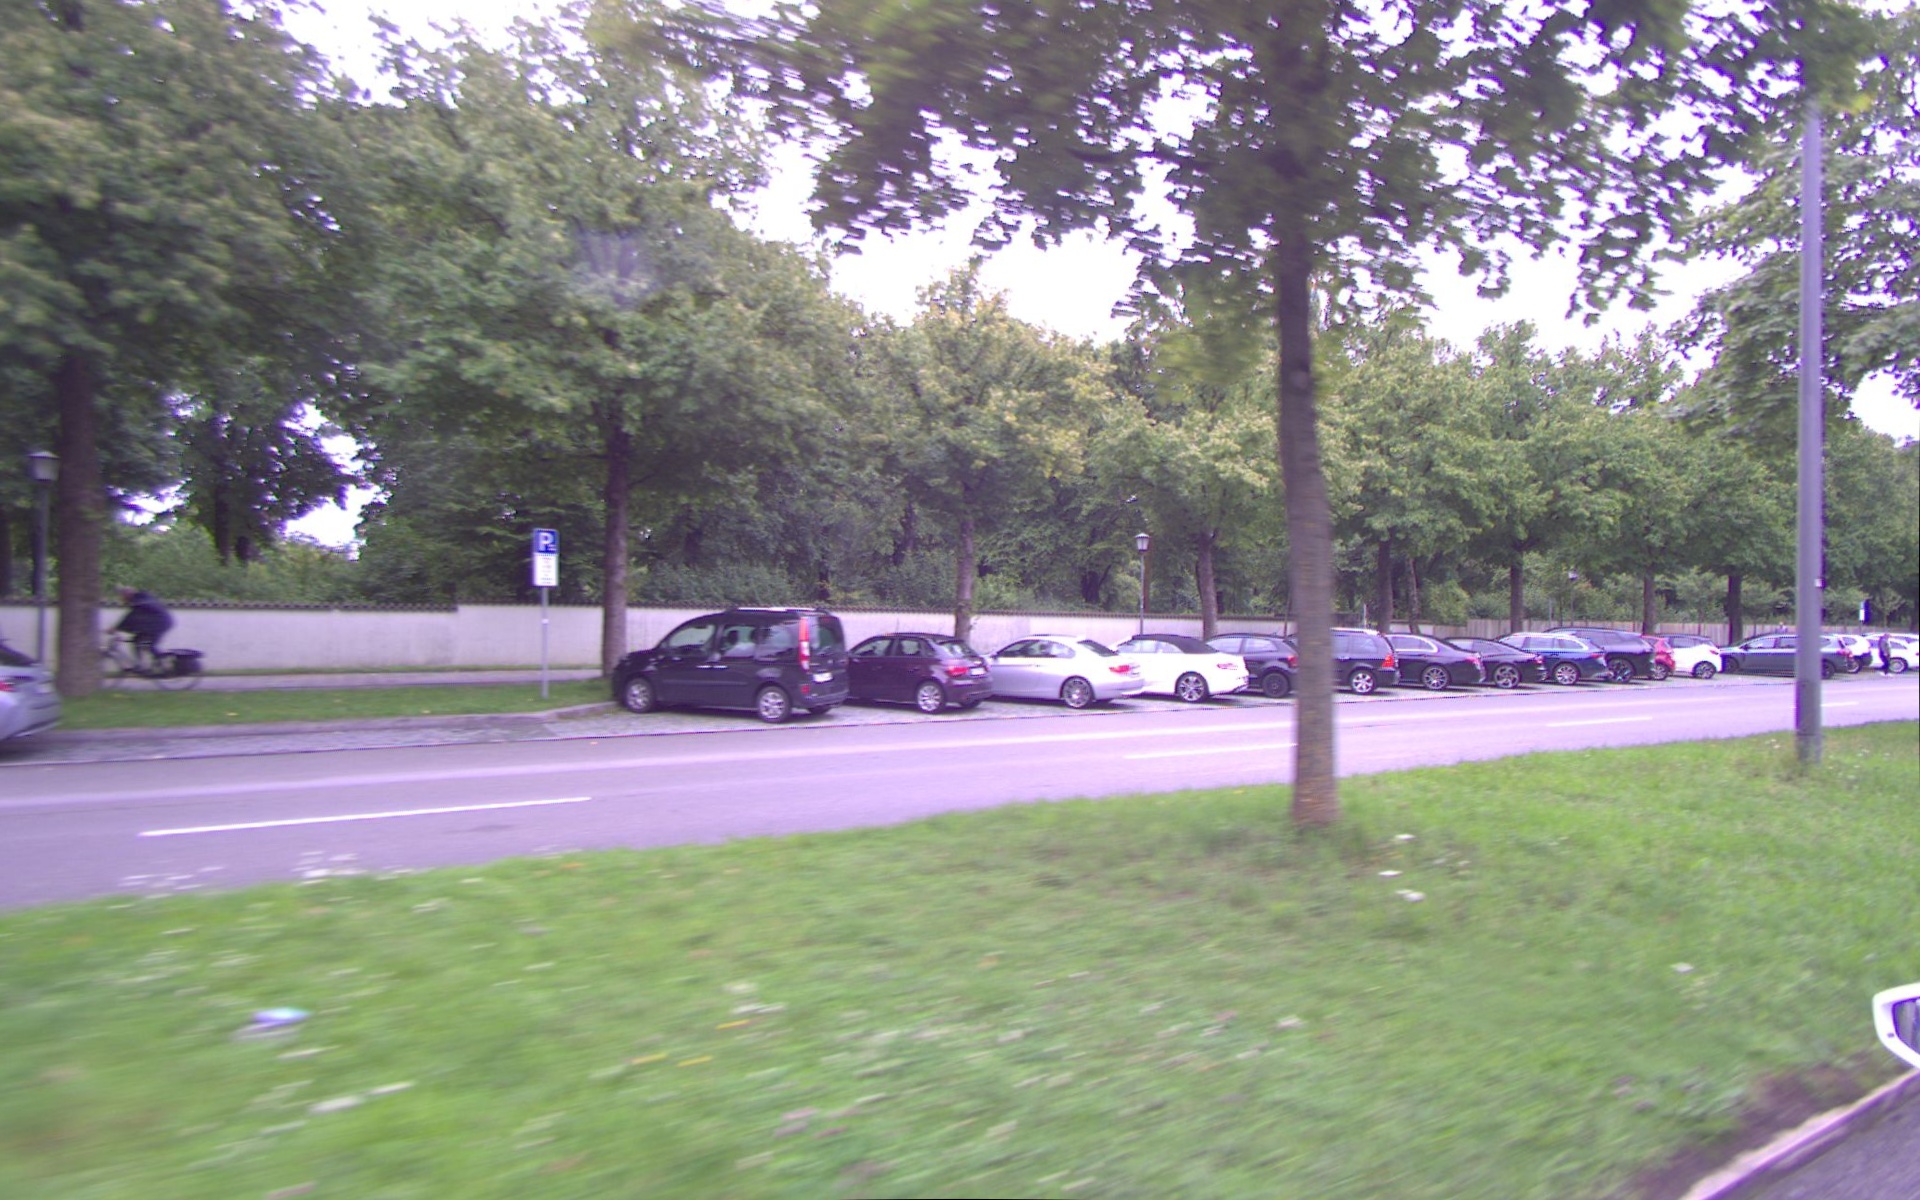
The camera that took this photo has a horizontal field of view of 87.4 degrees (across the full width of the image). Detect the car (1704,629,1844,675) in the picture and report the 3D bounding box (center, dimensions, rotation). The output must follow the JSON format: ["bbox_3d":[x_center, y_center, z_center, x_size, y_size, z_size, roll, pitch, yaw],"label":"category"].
[{"bbox_3d":[32.495,2.033,40.276,4.032,1.717,1.917,0,-1,27],"label":"car"}]

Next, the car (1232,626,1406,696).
[{"bbox_3d":[9.120,1.504,25.607,4.028,1.618,1.919,0,-1,21],"label":"car"}]

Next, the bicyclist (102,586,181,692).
[{"bbox_3d":[-14.112,0.671,17.344,0.912,1.770,0.702,1,-1,-30],"label":"bicyclist"}]

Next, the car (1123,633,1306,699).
[{"bbox_3d":[6.192,1.543,24.341,4.157,1.441,1.919,0,-1,19],"label":"car"}]

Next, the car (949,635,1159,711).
[{"bbox_3d":[1.947,1.437,20.763,3.925,1.372,1.849,0,-1,26],"label":"car"}]

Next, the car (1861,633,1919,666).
[{"bbox_3d":[46.176,2.405,48.220,4.032,1.493,1.703,1,-1,27],"label":"car"}]

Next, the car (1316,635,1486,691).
[{"bbox_3d":[11.982,1.661,27.337,4.125,1.340,1.917,0,-1,27],"label":"car"}]

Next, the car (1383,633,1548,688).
[{"bbox_3d":[14.445,1.686,28.871,4.121,1.428,1.917,0,-1,27],"label":"car"}]

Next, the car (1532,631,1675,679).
[{"bbox_3d":[21.908,1.839,34.397,4.035,1.521,1.916,0,-1,30],"label":"car"}]

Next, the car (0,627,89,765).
[{"bbox_3d":[-12.707,1.040,10.813,4.750,1.458,1.629,1,0,-29],"label":"car"}]

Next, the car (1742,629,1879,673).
[{"bbox_3d":[35.374,2.090,41.926,4.032,1.717,1.917,0,-1,27],"label":"car"}]

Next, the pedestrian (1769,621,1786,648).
[{"bbox_3d":[48.922,2.064,60.128,0.668,1.633,0.691,0,-1,29],"label":"pedestrian"}]

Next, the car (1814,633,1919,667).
[{"bbox_3d":[42.925,2.337,47.087,4.032,1.493,1.917,0,-1,27],"label":"car"}]

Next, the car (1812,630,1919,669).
[{"bbox_3d":[41.140,2.197,45.093,4.032,1.674,1.917,0,-1,27],"label":"car"}]

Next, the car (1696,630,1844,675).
[{"bbox_3d":[30.776,1.962,38.327,4.113,1.563,1.916,0,-1,30],"label":"car"}]

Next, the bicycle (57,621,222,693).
[{"bbox_3d":[-14.098,0.970,17.353,2.091,1.177,0.710,1,-1,-30],"label":"bicycle"}]

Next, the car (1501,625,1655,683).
[{"bbox_3d":[19.583,1.682,32.061,4.032,1.702,1.917,0,-1,27],"label":"car"}]

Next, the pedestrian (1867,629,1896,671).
[{"bbox_3d":[36.096,1.940,39.347,0.674,1.633,0.719,1,-1,-38],"label":"pedestrian"}]

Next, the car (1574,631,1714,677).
[{"bbox_3d":[24.449,1.893,36.098,4.035,1.521,1.916,0,-1,30],"label":"car"}]

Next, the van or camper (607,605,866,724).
[{"bbox_3d":[-3.892,1.051,17.601,4.044,1.879,1.850,0,-1,20],"label":"van or camper"}]

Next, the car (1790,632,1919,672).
[{"bbox_3d":[38.674,2.215,43.380,4.032,1.606,1.917,0,-1,27],"label":"car"}]

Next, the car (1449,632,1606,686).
[{"bbox_3d":[17.176,1.744,30.625,4.032,1.489,1.917,0,-1,27],"label":"car"}]

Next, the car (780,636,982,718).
[{"bbox_3d":[-1.534,1.417,19.362,3.517,1.372,1.750,0,-1,30],"label":"car"}]

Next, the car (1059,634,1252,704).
[{"bbox_3d":[4.391,1.489,22.545,3.967,1.400,1.673,0,-1,25],"label":"car"}]
